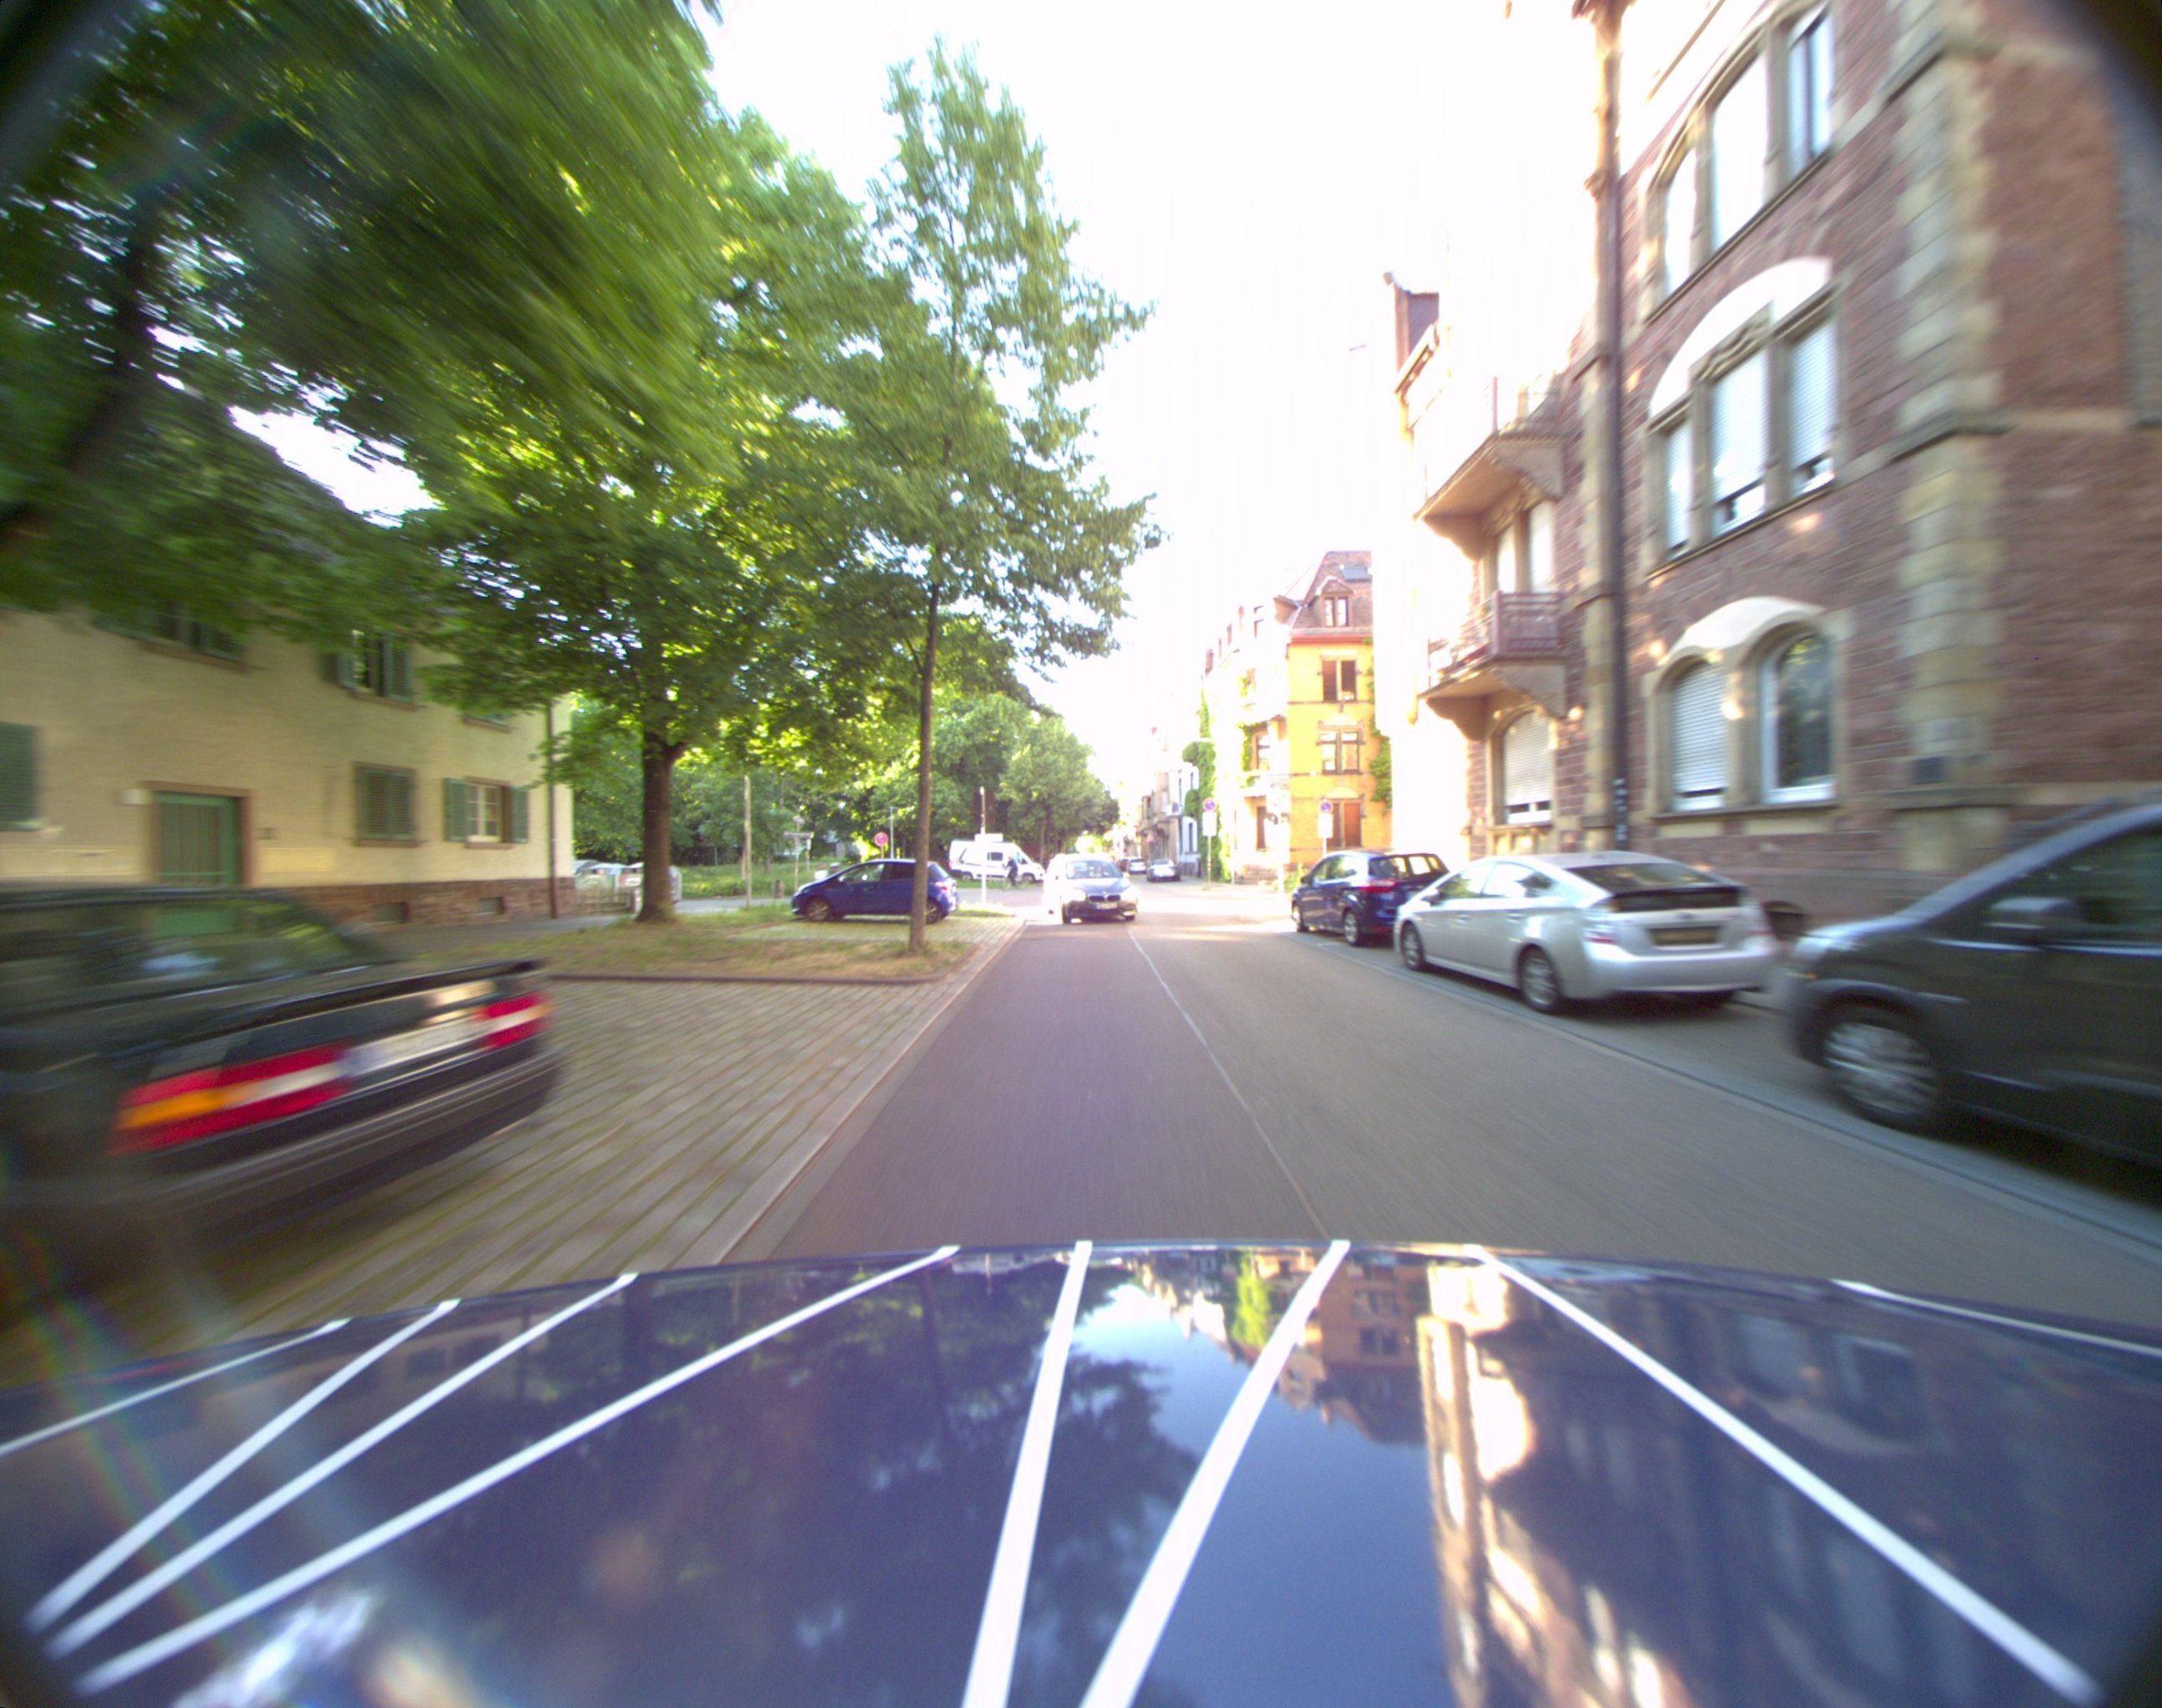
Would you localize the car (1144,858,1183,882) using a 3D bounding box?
[{"bbox_3d":[5.237,0.974,48.853,1.882,1.396,4.925,-3,0,0],"label":"car"}]

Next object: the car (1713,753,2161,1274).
[{"bbox_3d":[5.040,0.565,2.535,1.974,1.962,4.497,-2,0,-2],"label":"car"}]

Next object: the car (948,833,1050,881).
[{"bbox_3d":[-4.651,0.169,43.833,5.628,2.599,2.238,-1,1,-1],"label":"car"}]

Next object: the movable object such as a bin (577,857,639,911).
[{"bbox_3d":[-16.683,1.034,26.818,1.384,1.817,1.151,-1,2,7],"label":"movable object such as a bin"}]

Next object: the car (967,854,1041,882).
[{"bbox_3d":[-4.660,0.845,46.546,4.297,1.566,1.978,-1,1,-1],"label":"car"}]

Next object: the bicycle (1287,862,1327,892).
[{"bbox_3d":[9.892,1.007,33.277,1.600,1.261,0.565,-1,0,9],"label":"bicycle"}]

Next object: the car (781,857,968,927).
[{"bbox_3d":[-4.850,0.873,18.358,3.998,1.547,1.999,0,1,-2],"label":"car"}]

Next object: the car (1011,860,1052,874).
[{"bbox_3d":[-4.711,1.214,72.958,3.878,1.249,1.785,-1,1,-1],"label":"car"}]

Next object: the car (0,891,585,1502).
[{"bbox_3d":[-4.989,0.926,2.872,4.907,1.434,1.941,1,1,-2],"label":"car"}]

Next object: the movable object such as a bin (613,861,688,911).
[{"bbox_3d":[-15.100,1.114,26.709,1.638,1.648,1.592,-1,1,7],"label":"movable object such as a bin"}]

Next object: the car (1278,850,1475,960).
[{"bbox_3d":[5.060,0.786,13.720,1.734,1.612,4.258,-2,0,-2],"label":"car"}]

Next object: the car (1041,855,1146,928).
[{"bbox_3d":[0.183,0.858,19.724,1.891,1.612,4.614,-1,0,-10],"label":"car"}]

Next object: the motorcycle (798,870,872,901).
[{"bbox_3d":[-9.457,1.209,29.249,2.516,1.095,0.987,-1,0,6],"label":"motorcycle"}]

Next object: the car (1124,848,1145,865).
[{"bbox_3d":[5.536,0.241,78.985,1.998,1.616,4.143,-1,1,1],"label":"car"}]

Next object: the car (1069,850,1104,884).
[{"bbox_3d":[0.236,0.646,38.669,1.649,1.581,4.019,-3,0,-1],"label":"car"}]

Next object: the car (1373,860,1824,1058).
[{"bbox_3d":[4.990,0.850,8.285,1.734,1.490,4.454,-2,0,-2],"label":"car"}]

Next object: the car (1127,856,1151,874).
[{"bbox_3d":[5.291,0.969,70.222,1.867,1.538,3.792,-1,1,-1],"label":"car"}]

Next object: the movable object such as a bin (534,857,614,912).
[{"bbox_3d":[-18.083,1.045,27.187,1.391,1.843,1.927,-1,1,7],"label":"movable object such as a bin"}]

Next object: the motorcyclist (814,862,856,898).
[{"bbox_3d":[-9.443,0.991,29.216,1.226,1.333,0.987,-1,0,6],"label":"motorcyclist"}]
